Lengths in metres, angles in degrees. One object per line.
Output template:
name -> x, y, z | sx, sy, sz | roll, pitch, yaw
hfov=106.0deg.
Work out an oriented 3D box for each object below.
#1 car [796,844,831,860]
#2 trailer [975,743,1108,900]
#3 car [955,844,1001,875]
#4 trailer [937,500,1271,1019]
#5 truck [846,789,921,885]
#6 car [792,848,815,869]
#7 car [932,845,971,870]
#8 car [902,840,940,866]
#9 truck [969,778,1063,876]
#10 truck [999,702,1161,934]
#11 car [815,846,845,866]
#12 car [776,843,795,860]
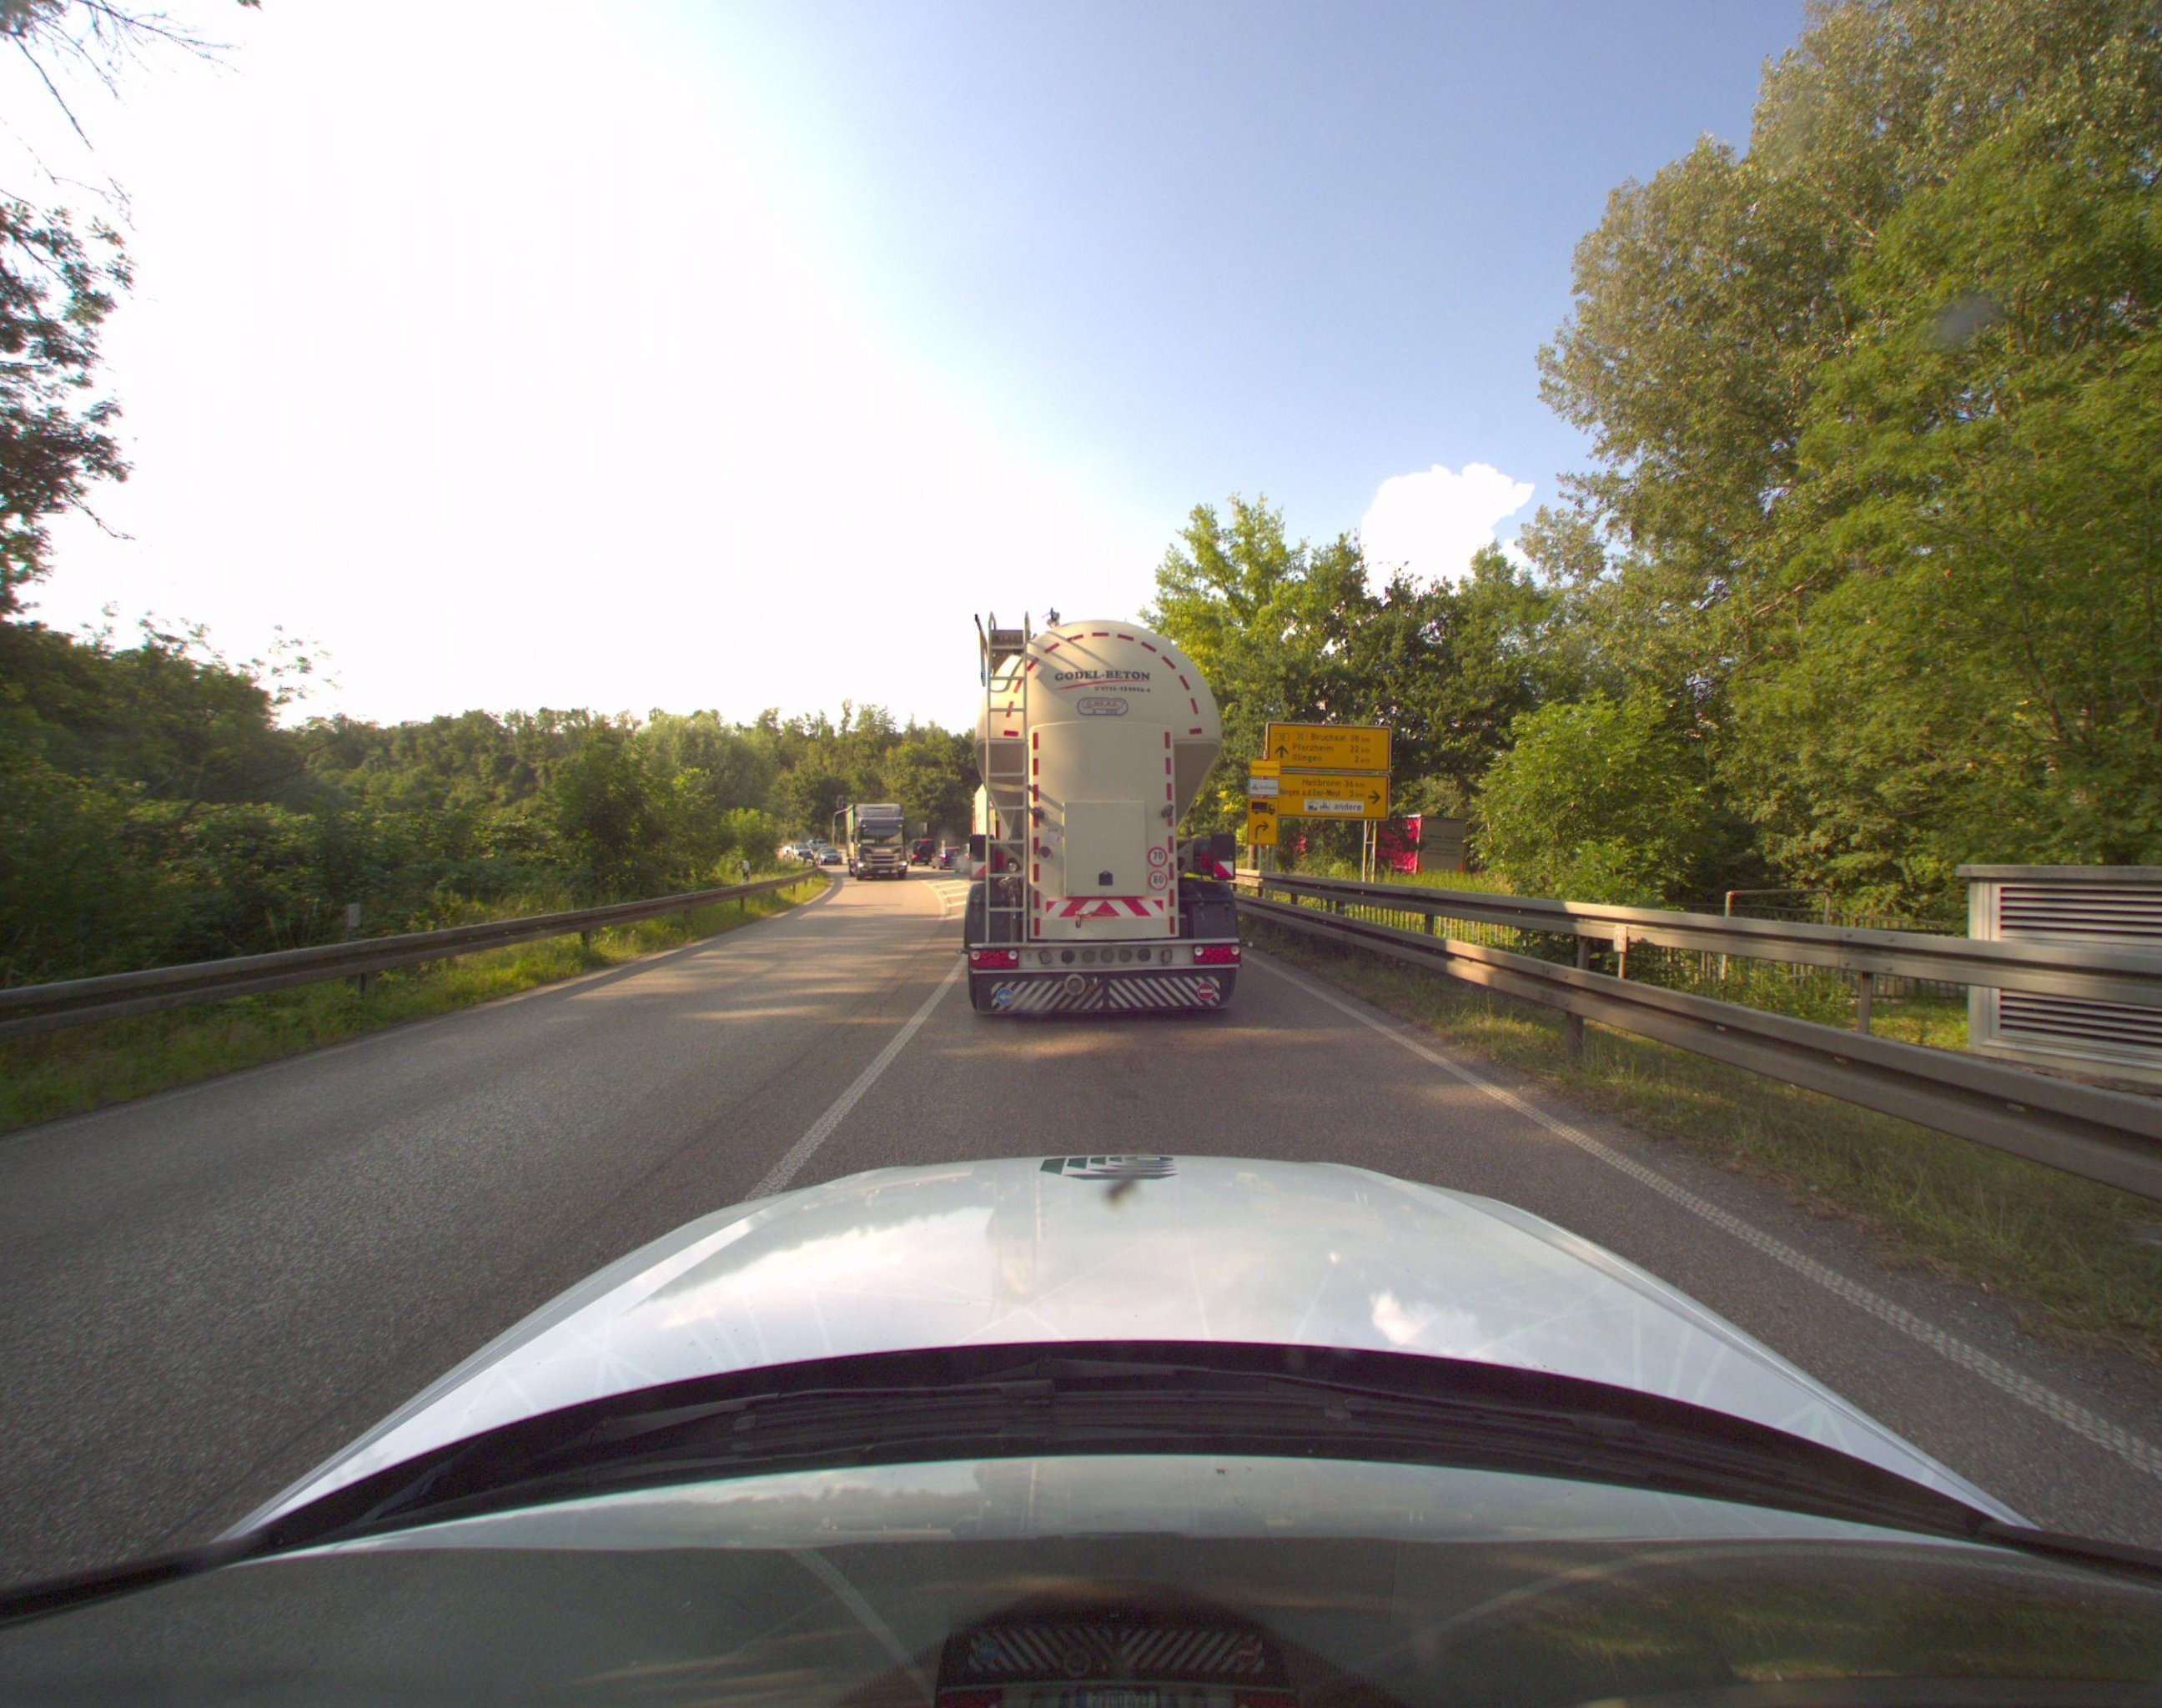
car -> -34.171, -0.248, 104.052 | 1.850, 1.851, 4.025 | 1, 0, 31
trailer -> -1.955, -0.907, 30.190 | 3.545, 4.513, 12.943 | 1, 0, -9
car -> -5.914, 0.265, 46.252 | 1.873, 1.628, 3.976 | -2, 1, -18
trailer -> 0.036, -0.821, 11.858 | 2.879, 4.454, 9.597 | 0, 0, -2
truck -> -10.982, -0.810, 44.486 | 3.022, 4.585, 10.174 | 0, 0, -19
car -> -26.645, 0.431, 78.040 | 1.875, 1.851, 3.972 | -2, 1, -21
car -> -8.666, 0.207, 54.159 | 1.873, 1.564, 3.974 | -2, 1, -19
car -> -12.395, -0.086, 62.972 | 1.966, 1.851, 3.968 | -2, 1, -24
truck -> -3.116, -1.158, 37.194 | 3.453, 4.086, 6.464 | 0, 1, -12
truck -> -0.242, -0.638, 17.207 | 2.819, 4.035, 5.884 | 0, 0, -5
car -> -20.632, 0.137, 66.873 | 1.876, 1.556, 3.969 | 2, 0, -24
car -> -34.457, -0.296, 95.070 | 1.872, 1.851, 3.976 | 2, 0, -17
